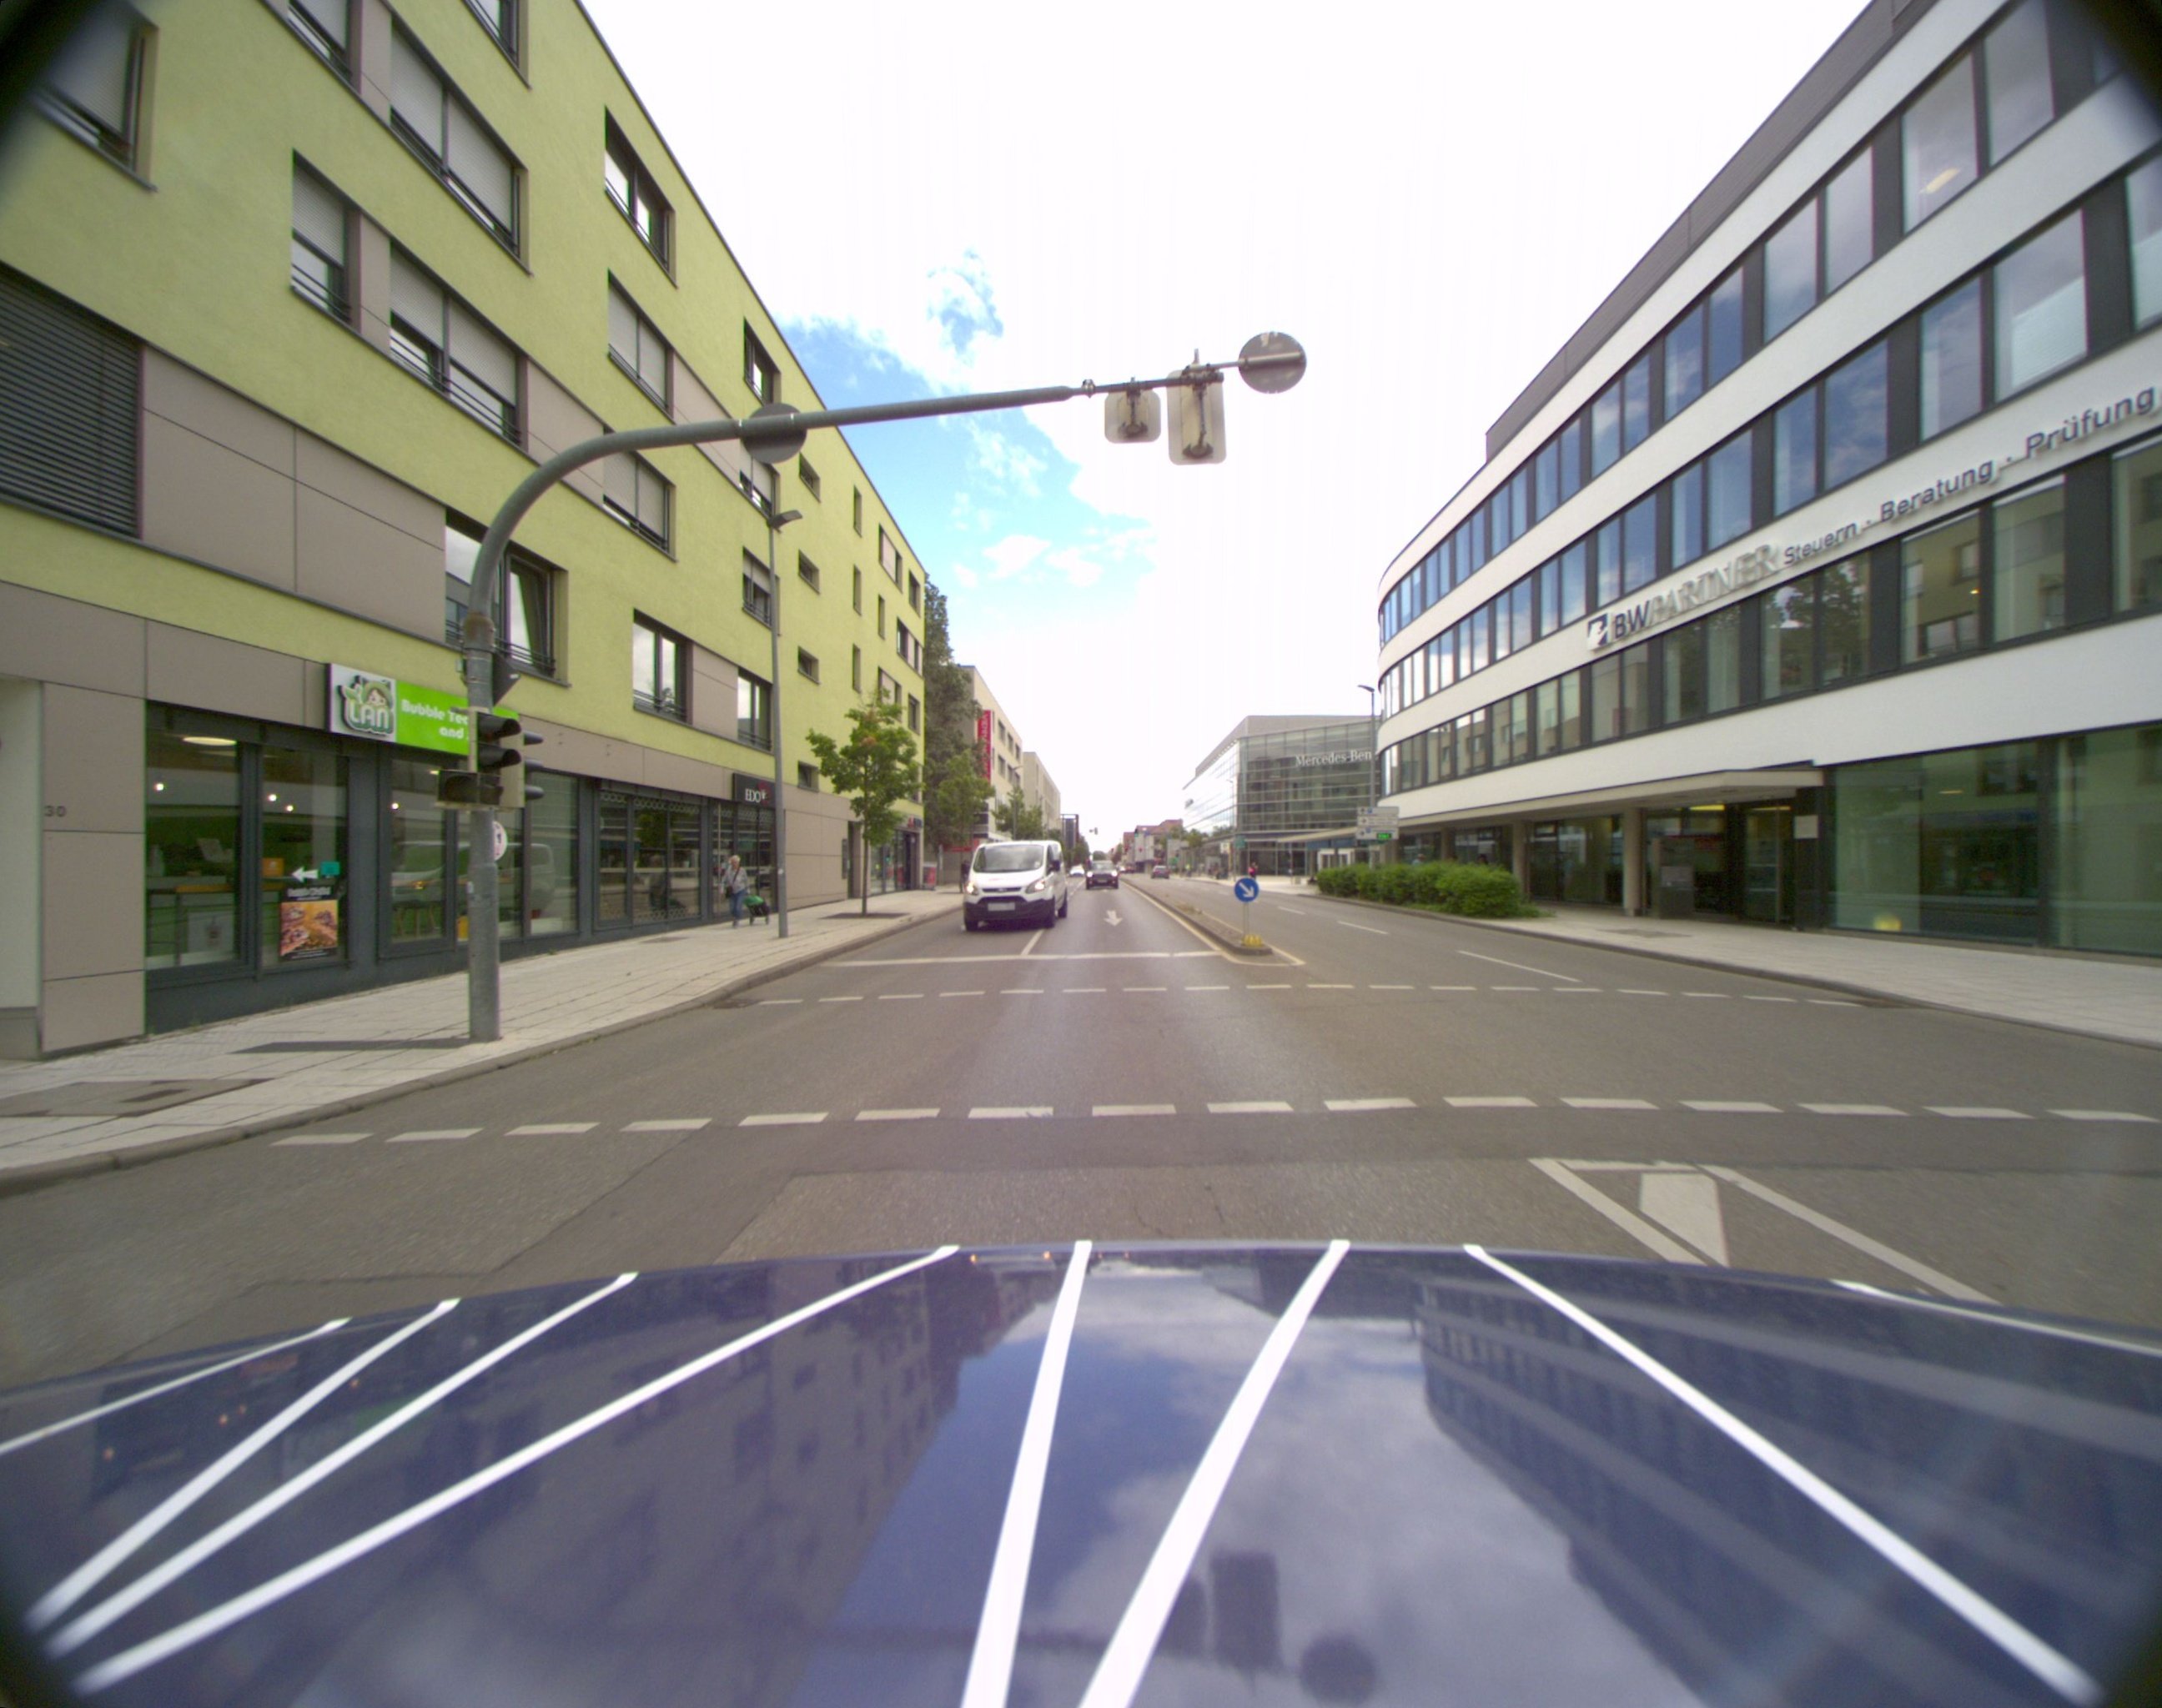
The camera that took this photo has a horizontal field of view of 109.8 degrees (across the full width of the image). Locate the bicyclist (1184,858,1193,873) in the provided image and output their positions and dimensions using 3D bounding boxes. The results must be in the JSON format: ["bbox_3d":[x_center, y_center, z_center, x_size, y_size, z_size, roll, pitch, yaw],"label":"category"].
[{"bbox_3d":[13.421,1.425,94.797,0.749,1.789,0.772,-2,0,-44],"label":"bicyclist"}]

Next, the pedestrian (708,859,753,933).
[{"bbox_3d":[-7.732,0.912,16.766,0.697,1.584,0.603,1,0,1],"label":"pedestrian"}]

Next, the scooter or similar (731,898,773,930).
[{"bbox_3d":[-7.557,1.367,17.481,0.593,0.669,0.824,1,0,1],"label":"scooter or similar"}]

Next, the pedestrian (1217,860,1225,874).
[{"bbox_3d":[13.204,1.245,71.695,0.686,1.312,0.576,1,0,0],"label":"pedestrian"}]

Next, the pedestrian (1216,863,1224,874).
[{"bbox_3d":[13.223,1.394,72.365,0.686,1.069,0.576,2,0,0],"label":"pedestrian"}]

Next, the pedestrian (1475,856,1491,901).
[{"bbox_3d":[15.304,0.925,28.917,0.505,1.719,0.616,0,0,33],"label":"pedestrian"}]

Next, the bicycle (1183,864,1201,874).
[{"bbox_3d":[13.452,1.763,91.962,2.002,1.123,0.639,-3,0,17],"label":"bicycle"}]

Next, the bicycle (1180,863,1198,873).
[{"bbox_3d":[13.464,1.733,94.775,0.749,1.198,2.025,-2,0,-44],"label":"bicycle"}]

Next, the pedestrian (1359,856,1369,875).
[{"bbox_3d":[29.313,1.170,78.747,0.686,1.934,0.749,-1,0,-11],"label":"pedestrian"}]

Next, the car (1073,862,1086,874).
[{"bbox_3d":[-0.184,1.881,102.481,1.787,1.417,4.515,-1,0,1],"label":"car"}]

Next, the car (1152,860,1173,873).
[{"bbox_3d":[9.064,1.394,84.953,1.901,1.407,4.472,-2,0,2],"label":"car"}]

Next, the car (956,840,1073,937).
[{"bbox_3d":[-1.429,0.739,18.364,1.999,1.976,5.002,-2,0,4],"label":"car"}]

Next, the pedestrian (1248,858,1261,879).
[{"bbox_3d":[12.853,1.090,56.422,0.832,1.558,0.813,-2,0,7],"label":"pedestrian"}]

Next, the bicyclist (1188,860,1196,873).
[{"bbox_3d":[13.471,1.508,91.946,0.782,1.639,0.639,-3,0,17],"label":"bicyclist"}]

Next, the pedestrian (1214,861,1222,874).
[{"bbox_3d":[13.180,1.294,72.965,0.686,1.246,0.576,1,0,0],"label":"pedestrian"}]

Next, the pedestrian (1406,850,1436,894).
[{"bbox_3d":[13.172,0.688,29.453,0.732,1.664,0.931,-2,0,4],"label":"pedestrian"}]

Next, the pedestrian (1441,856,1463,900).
[{"bbox_3d":[14.407,0.934,29.529,0.616,1.700,0.505,0,0,-29],"label":"pedestrian"}]

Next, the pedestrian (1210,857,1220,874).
[{"bbox_3d":[12.965,1.103,73.606,0.688,1.621,0.574,1,0,-39],"label":"pedestrian"}]

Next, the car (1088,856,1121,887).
[{"bbox_3d":[1.340,0.940,41.723,1.691,1.550,4.746,-2,0,3],"label":"car"}]

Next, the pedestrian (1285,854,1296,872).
[{"bbox_3d":[23.329,1.025,84.678,0.904,1.934,0.748,-1,0,-37],"label":"pedestrian"}]

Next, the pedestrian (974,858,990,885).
[{"bbox_3d":[-5.984,1.057,45.999,0.871,1.574,0.804,0,0,1],"label":"pedestrian"}]

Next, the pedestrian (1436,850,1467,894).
[{"bbox_3d":[14.075,0.683,28.863,0.732,1.603,0.931,-2,0,4],"label":"pedestrian"}]

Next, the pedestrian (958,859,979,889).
[{"bbox_3d":[-5.901,1.031,39.975,0.949,1.574,1.016,0,0,1],"label":"pedestrian"}]
